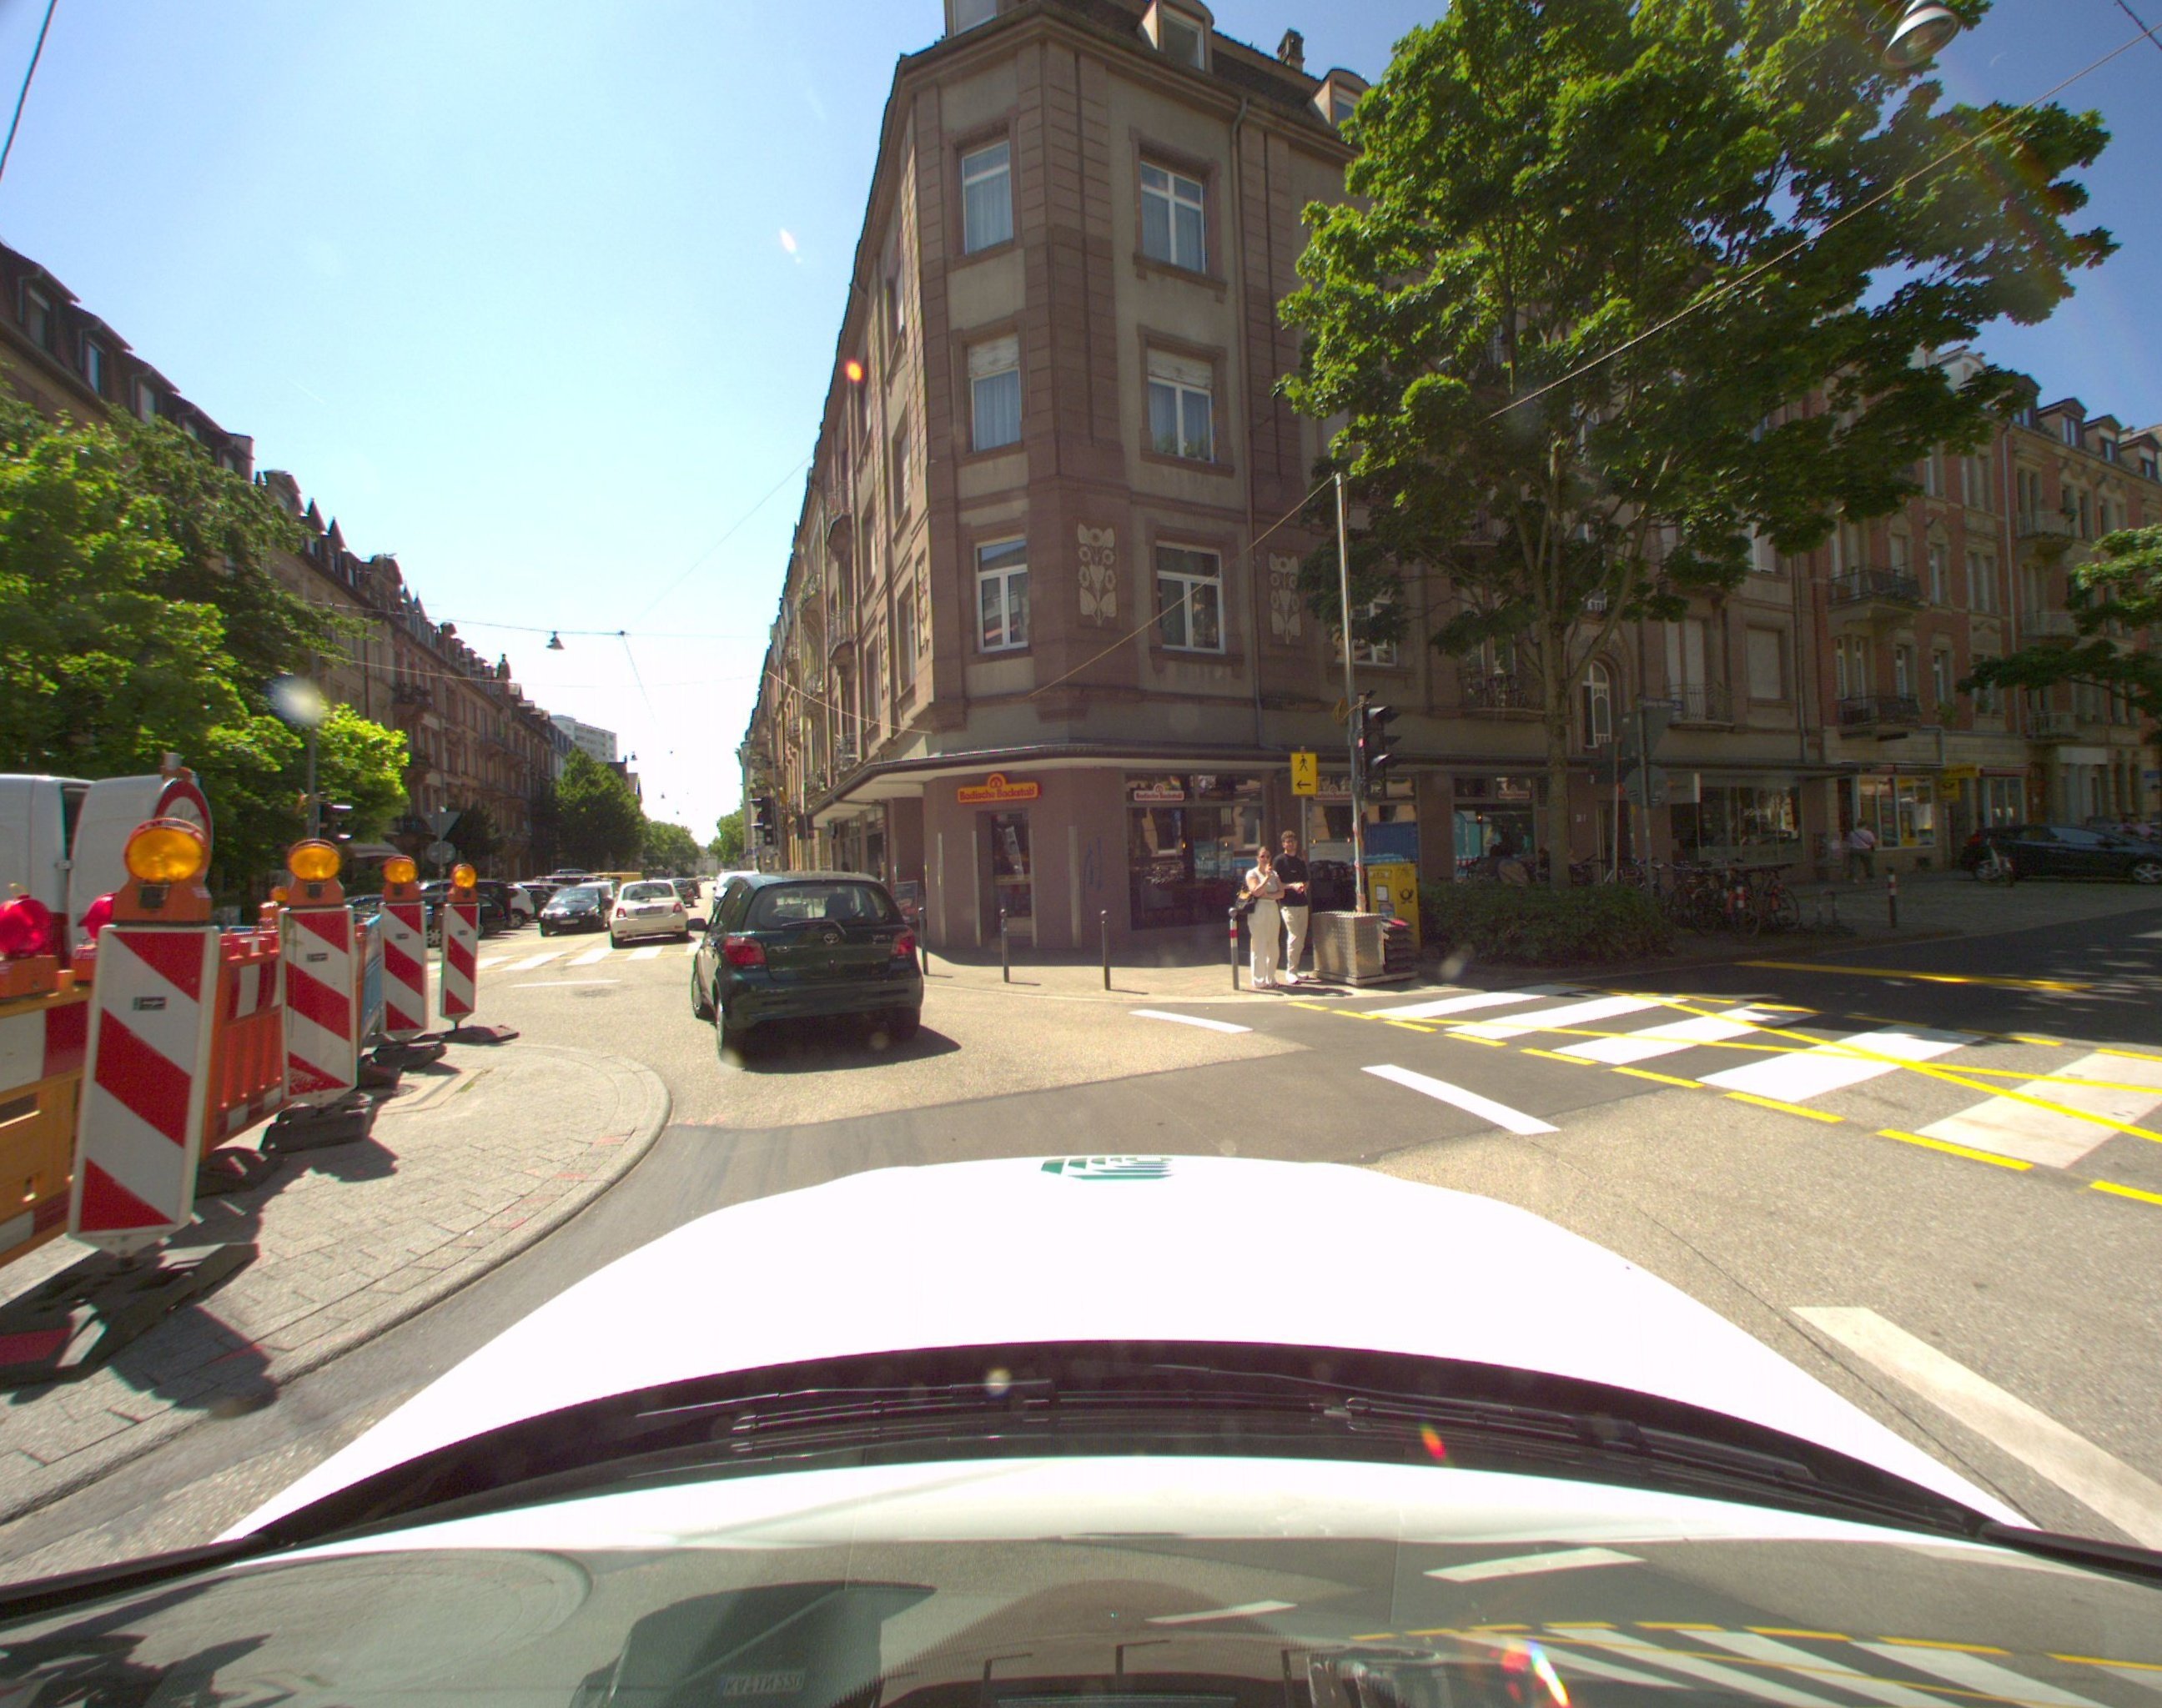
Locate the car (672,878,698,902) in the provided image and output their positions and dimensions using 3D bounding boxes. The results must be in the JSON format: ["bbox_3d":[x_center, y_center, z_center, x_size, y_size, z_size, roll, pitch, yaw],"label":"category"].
[{"bbox_3d":[-27.987,2.502,57.586,1.530,1.592,3.236,-2,0,-26],"label":"car"}]

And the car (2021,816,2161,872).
[{"bbox_3d":[28.494,-0.281,21.934,1.797,1.438,3.820,-2,0,-26],"label":"car"}]

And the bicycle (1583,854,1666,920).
[{"bbox_3d":[9.897,0.580,14.811,1.770,1.080,0.466,-2,1,-29],"label":"bicycle"}]

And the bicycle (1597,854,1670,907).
[{"bbox_3d":[11.370,0.524,16.755,1.734,0.996,0.500,-2,1,-29],"label":"bicycle"}]

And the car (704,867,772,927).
[{"bbox_3d":[-11.670,1.408,27.713,1.880,1.713,4.468,-4,0,-24],"label":"car"}]

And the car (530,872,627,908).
[{"bbox_3d":[-32.059,2.269,52.051,2.027,1.994,4.820,-3,-1,37],"label":"car"}]

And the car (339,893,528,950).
[{"bbox_3d":[-19.265,1.946,24.401,1.946,1.412,4.025,-2,-2,34],"label":"car"}]

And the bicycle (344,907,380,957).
[{"bbox_3d":[-17.156,1.836,19.449,0.494,1.081,1.877,0,-2,-37],"label":"bicycle"}]

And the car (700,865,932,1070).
[{"bbox_3d":[-2.712,0.894,7.866,1.623,1.485,3.212,-1,-1,-27],"label":"car"}]

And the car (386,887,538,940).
[{"bbox_3d":[-21.800,2.038,28.805,1.737,1.658,4.024,-2,-2,43],"label":"car"}]

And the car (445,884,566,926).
[{"bbox_3d":[-25.396,2.221,36.078,1.842,1.619,3.946,-3,-1,26],"label":"car"}]

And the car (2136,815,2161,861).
[{"bbox_3d":[35.748,-0.563,24.996,1.797,1.438,3.820,-2,0,-26],"label":"car"}]

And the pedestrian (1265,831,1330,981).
[{"bbox_3d":[2.681,0.618,10.084,0.579,1.768,0.467,-5,4,-32],"label":"pedestrian"}]

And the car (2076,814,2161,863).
[{"bbox_3d":[33.056,-0.508,24.384,1.797,1.438,3.820,-2,0,-26],"label":"car"}]

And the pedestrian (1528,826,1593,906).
[{"bbox_3d":[10.188,0.251,17.325,0.860,1.634,0.781,-2,-1,-25],"label":"pedestrian"}]

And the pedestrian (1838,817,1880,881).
[{"bbox_3d":[19.951,-0.118,20.891,0.492,1.614,0.555,-2,-1,-19],"label":"pedestrian"}]

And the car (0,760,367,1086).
[{"bbox_3d":[-11.131,0.677,7.294,6.651,2.752,2.361,-2,-2,-23],"label":"car"}]

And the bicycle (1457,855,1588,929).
[{"bbox_3d":[7.445,0.620,13.747,1.978,1.132,0.515,-2,-1,-7],"label":"bicycle"}]

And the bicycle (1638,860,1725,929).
[{"bbox_3d":[9.867,0.639,13.359,1.694,1.005,0.466,-2,1,-29],"label":"bicycle"}]

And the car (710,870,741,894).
[{"bbox_3d":[-23.236,1.808,53.257,1.763,1.429,3.968,-3,-1,-24],"label":"car"}]

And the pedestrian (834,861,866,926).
[{"bbox_3d":[-5.977,1.007,21.048,0.644,1.623,0.797,-2,-1,-24],"label":"pedestrian"}]

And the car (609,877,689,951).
[{"bbox_3d":[-10.298,1.354,19.558,1.530,1.521,3.235,-2,0,-26],"label":"car"}]

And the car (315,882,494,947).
[{"bbox_3d":[-21.202,1.812,25.657,1.746,1.804,4.025,-2,-2,36],"label":"car"}]

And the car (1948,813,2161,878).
[{"bbox_3d":[24.121,-0.193,19.779,1.797,1.438,3.820,-2,0,-26],"label":"car"}]

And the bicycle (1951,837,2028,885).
[{"bbox_3d":[21.280,0.140,19.114,0.537,1.046,1.950,-3,0,28],"label":"bicycle"}]

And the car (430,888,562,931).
[{"bbox_3d":[-23.941,2.234,33.481,1.843,1.470,3.945,-3,-1,25],"label":"car"}]

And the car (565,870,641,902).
[{"bbox_3d":[-36.790,2.452,62.714,1.974,2.187,4.602,-3,-1,39],"label":"car"}]

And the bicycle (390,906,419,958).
[{"bbox_3d":[-16.695,1.909,20.118,0.494,1.173,1.665,0,-2,-38],"label":"bicycle"}]

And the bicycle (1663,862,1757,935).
[{"bbox_3d":[9.760,0.659,12.621,1.770,0.996,0.466,-2,1,-29],"label":"bicycle"}]

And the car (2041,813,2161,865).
[{"bbox_3d":[31.058,-0.444,23.638,1.797,1.438,3.820,-2,0,-26],"label":"car"}]

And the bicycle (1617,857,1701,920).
[{"bbox_3d":[10.198,0.590,14.346,1.770,0.996,0.466,-2,1,-29],"label":"bicycle"}]

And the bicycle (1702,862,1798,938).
[{"bbox_3d":[9.985,0.655,12.140,1.770,0.996,0.466,-2,1,-29],"label":"bicycle"}]

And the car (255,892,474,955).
[{"bbox_3d":[-18.812,1.761,21.535,1.974,1.376,4.025,-2,-2,37],"label":"car"}]

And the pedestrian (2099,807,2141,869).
[{"bbox_3d":[27.008,-0.411,21.163,0.479,1.583,0.539,-2,-1,-26],"label":"pedestrian"}]

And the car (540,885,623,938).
[{"bbox_3d":[-16.322,1.822,26.787,1.763,1.444,3.968,-3,-1,-24],"label":"car"}]

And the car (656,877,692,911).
[{"bbox_3d":[-20.842,2.003,41.794,1.530,1.592,3.236,-2,0,-26],"label":"car"}]

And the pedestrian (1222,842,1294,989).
[{"bbox_3d":[2.115,0.706,9.729,0.706,1.645,0.418,-5,4,-33],"label":"pedestrian"}]

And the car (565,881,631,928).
[{"bbox_3d":[-20.257,2.067,34.300,1.763,1.645,4.342,-5,0,-24],"label":"car"}]
